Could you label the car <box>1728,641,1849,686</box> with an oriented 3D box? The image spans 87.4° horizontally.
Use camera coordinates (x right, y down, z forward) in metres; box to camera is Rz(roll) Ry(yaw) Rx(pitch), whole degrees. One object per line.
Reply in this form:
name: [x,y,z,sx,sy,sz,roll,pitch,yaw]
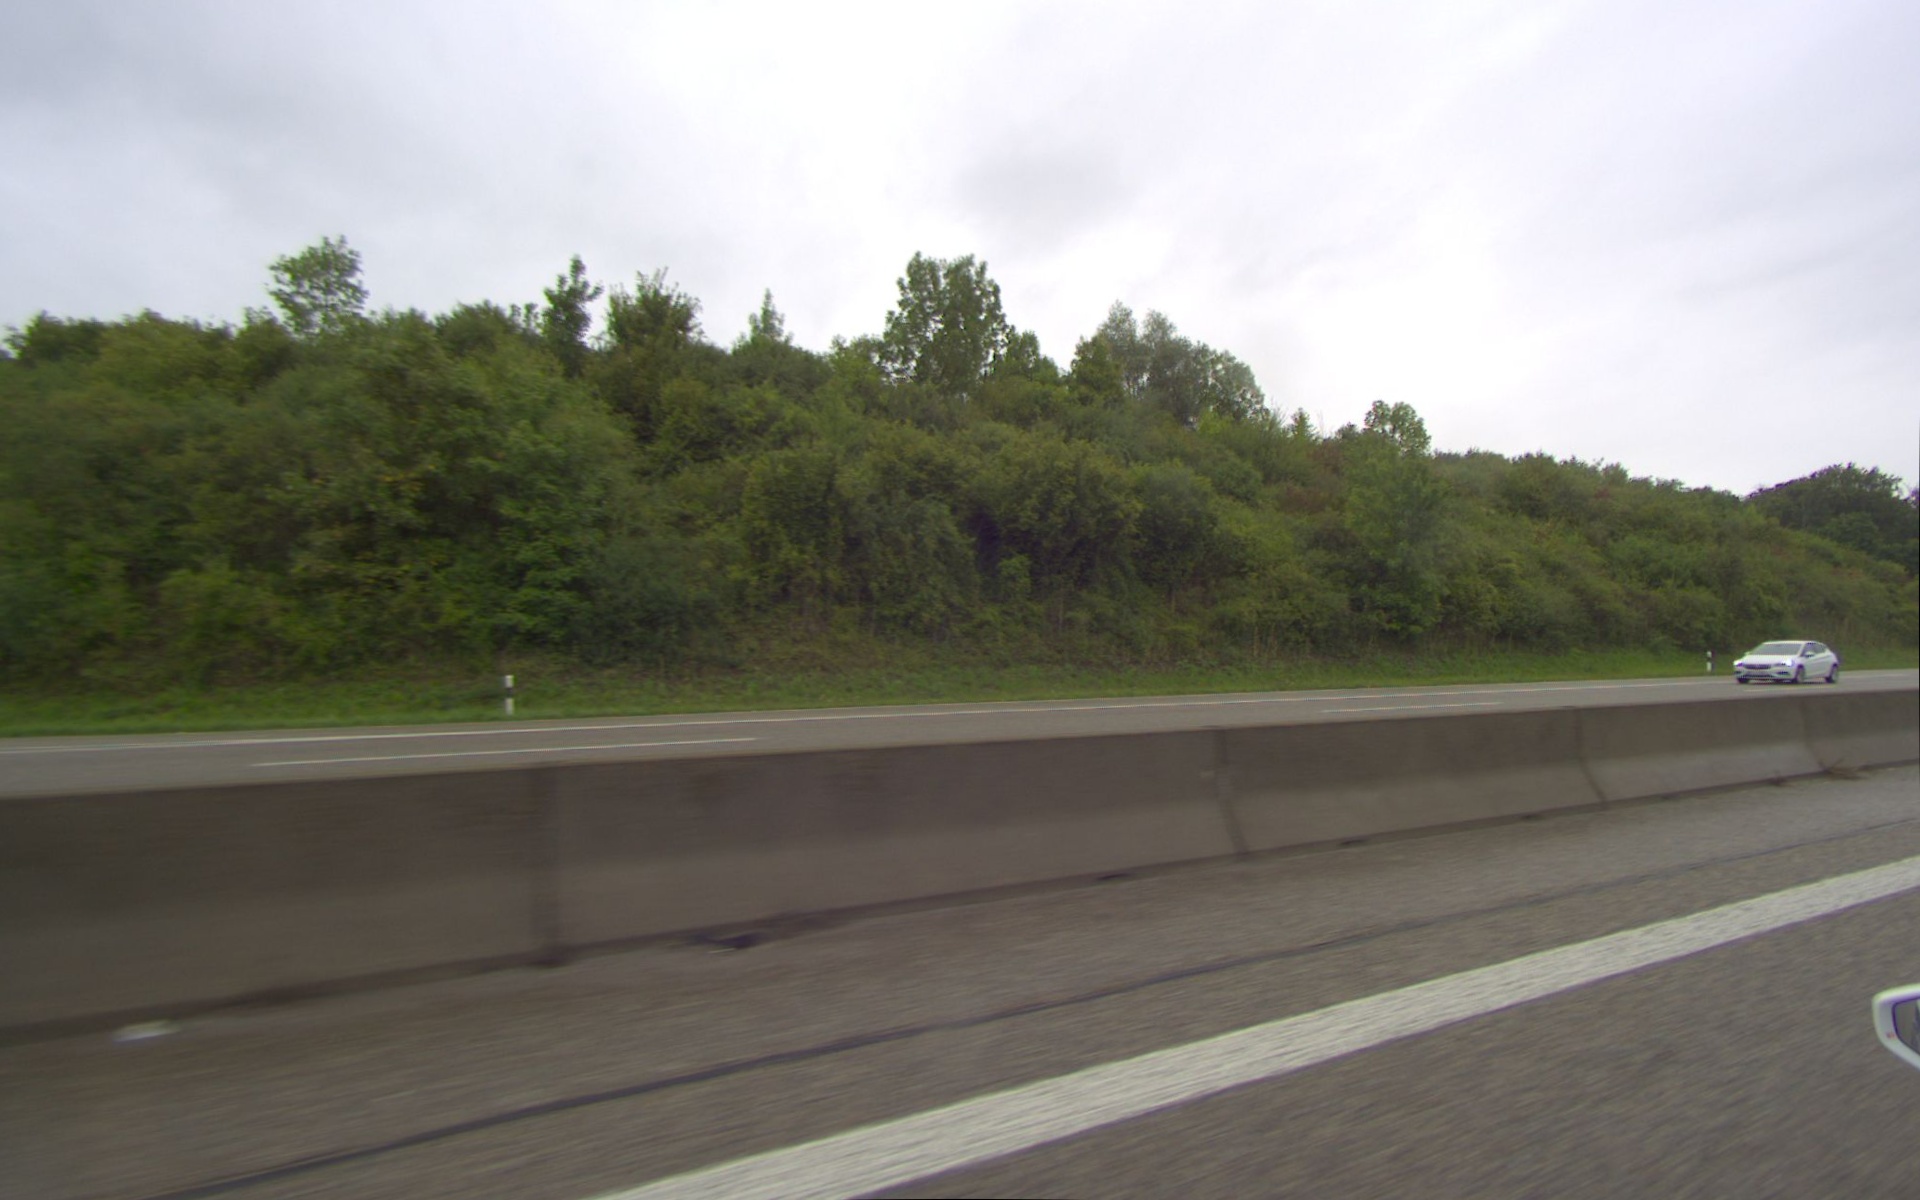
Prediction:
car: [28.929,2.183,35.055,4.575,1.469,1.789,1,-2,-30]
